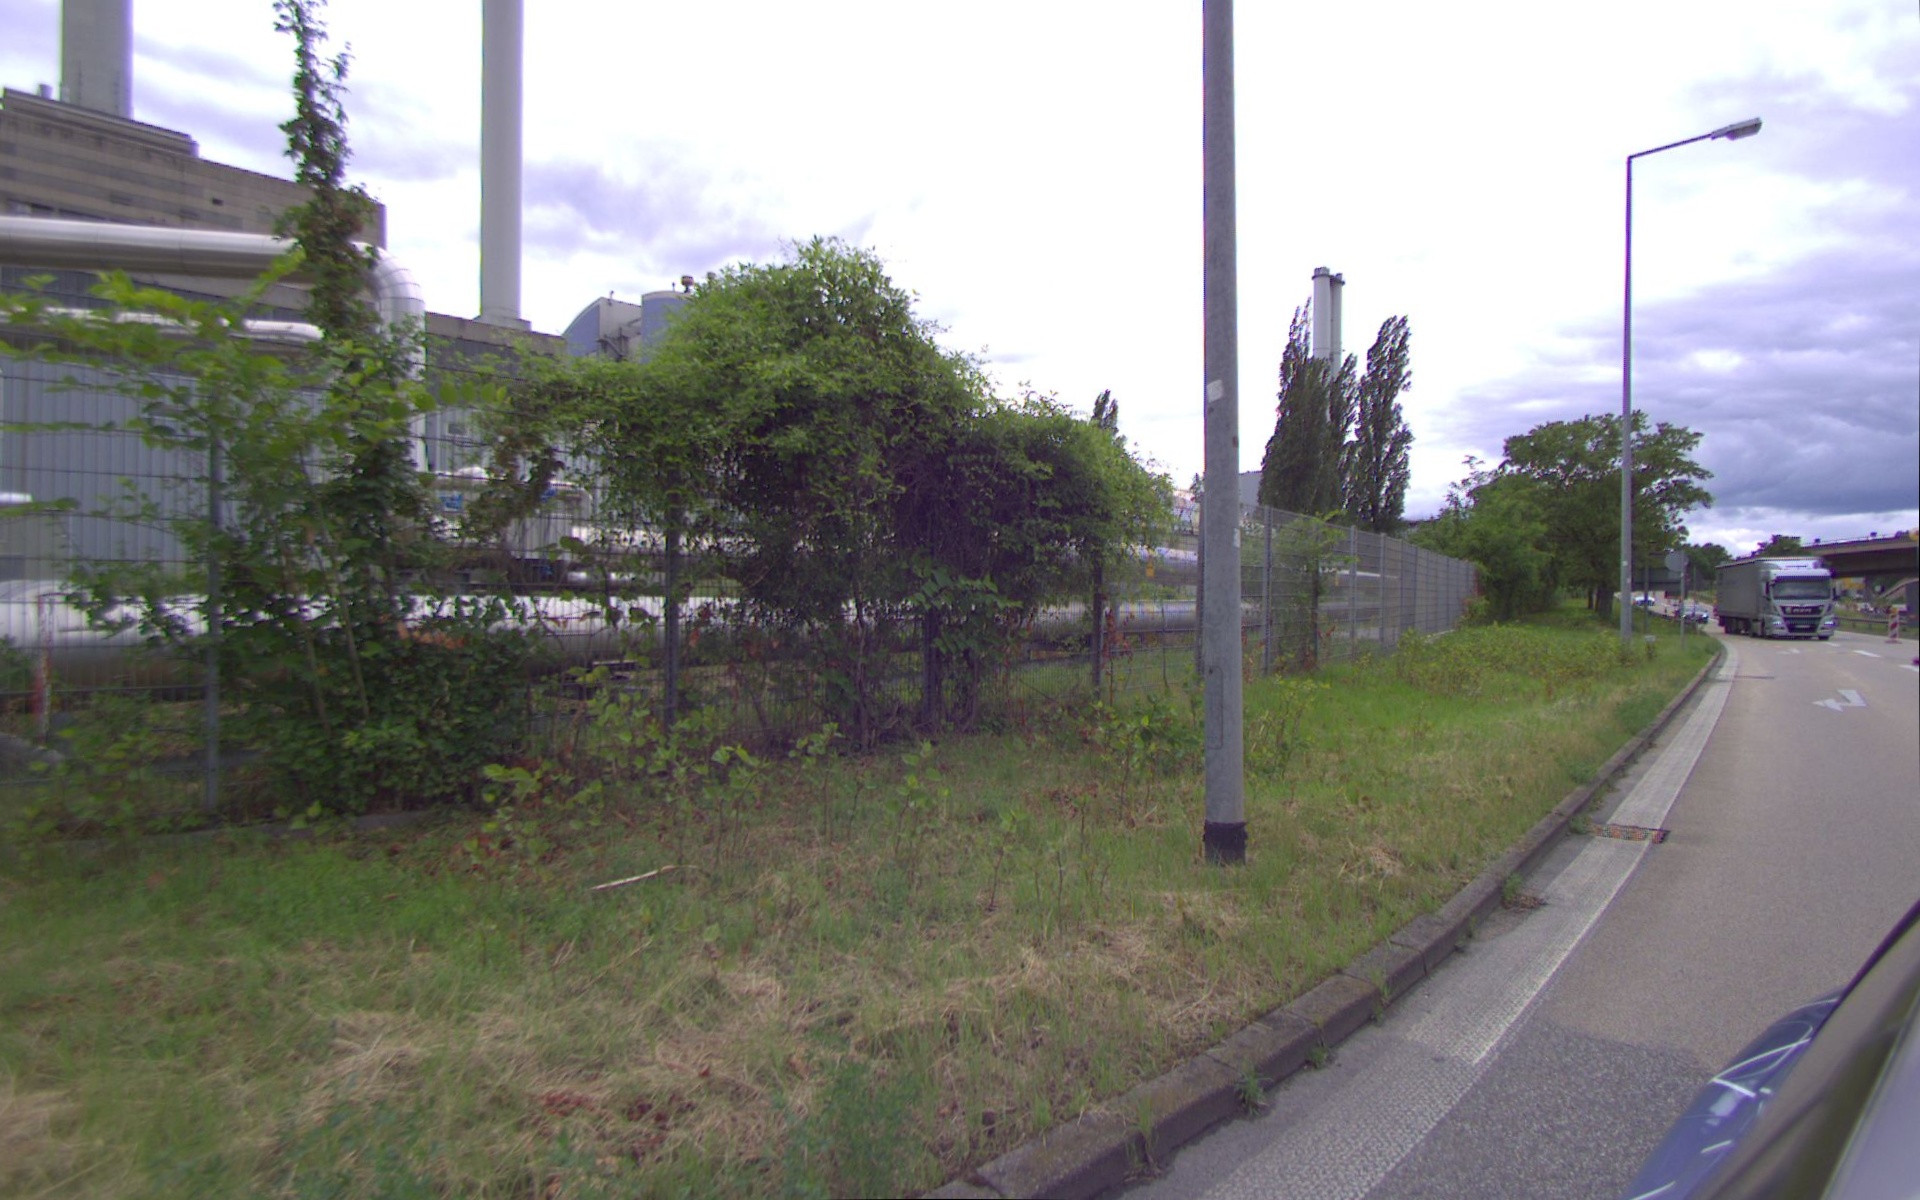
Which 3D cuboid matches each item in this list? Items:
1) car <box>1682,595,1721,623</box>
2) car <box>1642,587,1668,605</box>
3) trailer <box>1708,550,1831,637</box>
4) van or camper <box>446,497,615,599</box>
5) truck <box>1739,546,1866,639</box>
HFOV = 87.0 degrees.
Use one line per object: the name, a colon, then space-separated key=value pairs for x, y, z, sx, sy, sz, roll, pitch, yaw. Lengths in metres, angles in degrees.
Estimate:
car: x=57.512 y=0.667 z=78.508 sx=1.984 sy=2.039 sz=3.957 roll=1 pitch=0 yaw=30
car: x=78.566 y=-0.429 z=114.369 sx=1.975 sy=1.886 sz=3.901 roll=1 pitch=0 yaw=28
trailer: x=45.483 y=-0.292 z=57.371 sx=3.138 sy=4.379 sz=13.126 roll=-1 pitch=-1 yaw=29
van or camper: x=-12.332 y=-1.381 z=28.786 sx=2.532 sy=2.580 sz=6.114 roll=0 pitch=1 yaw=-42
truck: x=41.540 y=-0.303 z=50.229 sx=3.135 sy=4.184 sz=8.058 roll=-2 pitch=-1 yaw=29
